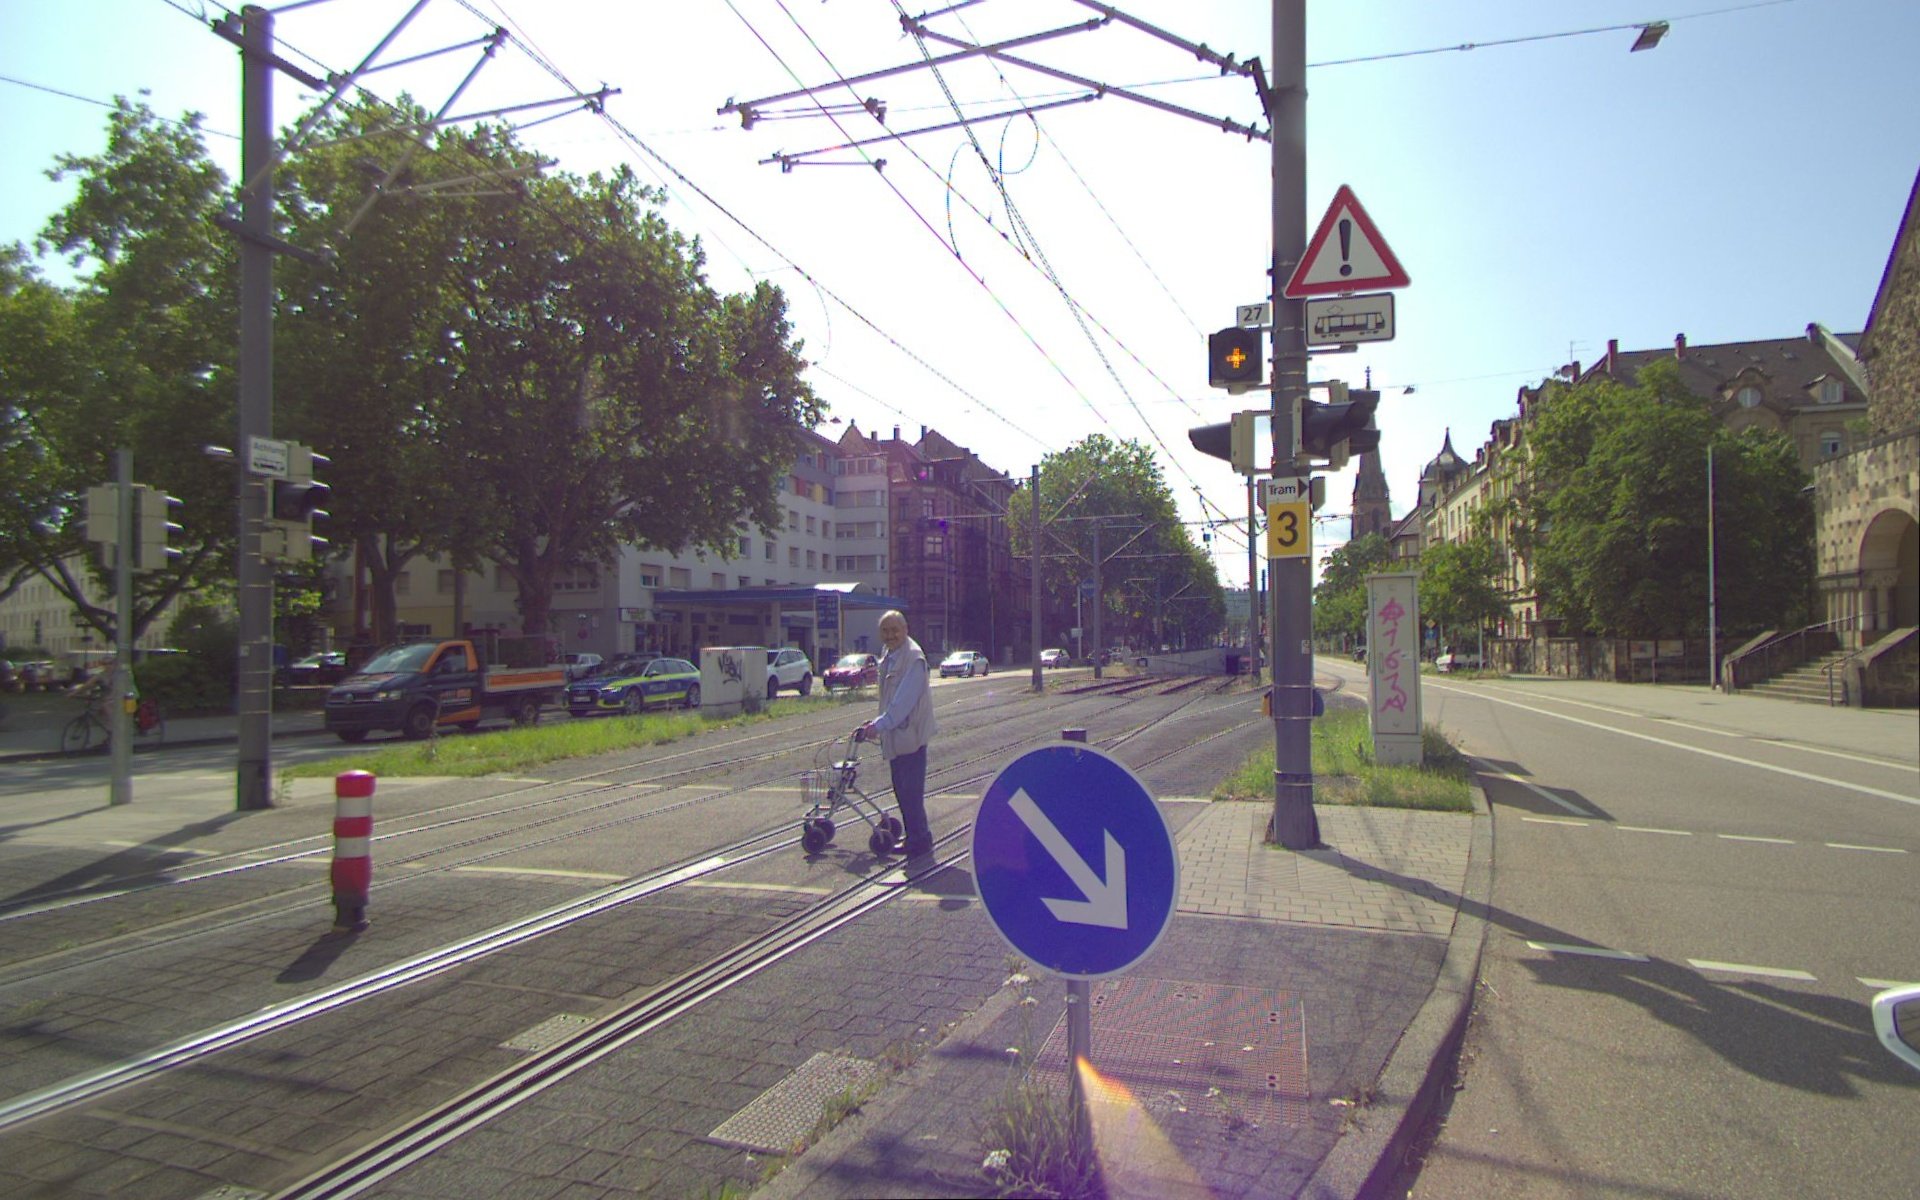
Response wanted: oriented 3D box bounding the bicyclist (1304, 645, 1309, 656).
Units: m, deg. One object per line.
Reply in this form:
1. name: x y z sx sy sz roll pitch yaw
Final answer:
1. bicyclist: 58.508 8.523 169.738 0.758 1.753 1.027 -1 -3 17

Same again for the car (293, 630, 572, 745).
1. car: -10.773 1.695 21.101 2.040 2.013 5.338 -2 -1 16

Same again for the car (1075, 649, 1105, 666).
1. car: 11.196 4.937 86.309 1.641 1.435 3.782 -2 -3 22

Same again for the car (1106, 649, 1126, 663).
1. car: 16.497 5.877 106.188 1.472 1.320 3.492 -4 -3 19

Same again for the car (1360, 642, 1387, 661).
1. car: 35.471 4.401 86.247 1.658 1.522 4.710 -1 -2 17

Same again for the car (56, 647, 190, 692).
1. car: -43.735 3.598 52.666 1.960 2.113 5.257 -4 -3 14

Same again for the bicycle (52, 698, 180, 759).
1. bicycle: -15.050 2.277 17.962 0.462 0.933 1.716 -2 -3 25

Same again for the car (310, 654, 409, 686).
1. car: -28.964 3.356 48.585 1.732 1.381 4.003 -4 -3 15

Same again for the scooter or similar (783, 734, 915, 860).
1. scooter or similar: -0.800 1.412 7.331 0.824 0.814 0.554 -1 -2 12

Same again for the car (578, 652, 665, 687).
1. car: -15.041 3.077 44.808 1.723 1.429 4.003 -2 -3 15

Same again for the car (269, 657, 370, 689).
1. car: -31.317 3.541 49.228 1.732 1.381 4.003 -4 -3 15

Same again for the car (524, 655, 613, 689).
1. car: -17.642 3.220 45.441 1.723 1.429 4.003 -2 -3 15

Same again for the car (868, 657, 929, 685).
1. car: -2.830 3.284 46.905 1.589 1.204 3.635 -1 -3 18

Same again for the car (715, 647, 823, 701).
1. car: -6.560 2.530 35.041 1.730 1.628 4.681 -2 -1 16

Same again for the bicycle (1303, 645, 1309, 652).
1. bicycle: 58.473 8.203 169.611 0.786 1.253 2.779 -1 -3 17

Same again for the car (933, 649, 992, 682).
1. car: 0.213 3.625 56.273 1.914 1.628 5.078 -2 -1 16

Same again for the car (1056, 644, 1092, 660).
1. car: 14.775 6.744 130.271 4.327 1.943 2.001 -1 -3 15

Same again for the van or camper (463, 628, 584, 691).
1. van or camper: -20.184 2.733 46.757 2.068 2.675 5.351 -4 -3 18

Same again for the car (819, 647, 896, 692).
1. car: -4.184 2.832 41.601 1.684 1.628 4.145 -2 -1 16

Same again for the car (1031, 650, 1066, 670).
1. car: 6.834 4.555 76.950 1.693 1.435 4.407 -3 -3 18

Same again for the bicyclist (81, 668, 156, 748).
1. bicyclist: -15.050 1.908 17.980 0.462 1.361 0.909 -2 -2 25

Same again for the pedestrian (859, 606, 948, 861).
1. pedestrian: -0.399 0.936 7.263 0.517 1.755 0.558 -1 -2 12

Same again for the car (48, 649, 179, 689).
1. car: -45.684 3.687 54.365 1.960 1.896 5.257 -4 -3 13

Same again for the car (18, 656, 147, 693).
1. car: -48.433 4.072 55.617 1.865 1.773 5.257 -4 -3 13

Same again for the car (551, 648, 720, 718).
1. car: -8.843 2.231 27.914 1.836 1.673 5.156 -3 -3 17

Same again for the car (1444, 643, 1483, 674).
1. car: 25.708 2.963 51.338 1.642 1.435 3.841 0 -2 25

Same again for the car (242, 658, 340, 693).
1. car: -33.627 3.773 50.588 1.631 1.539 4.003 -4 -3 15
